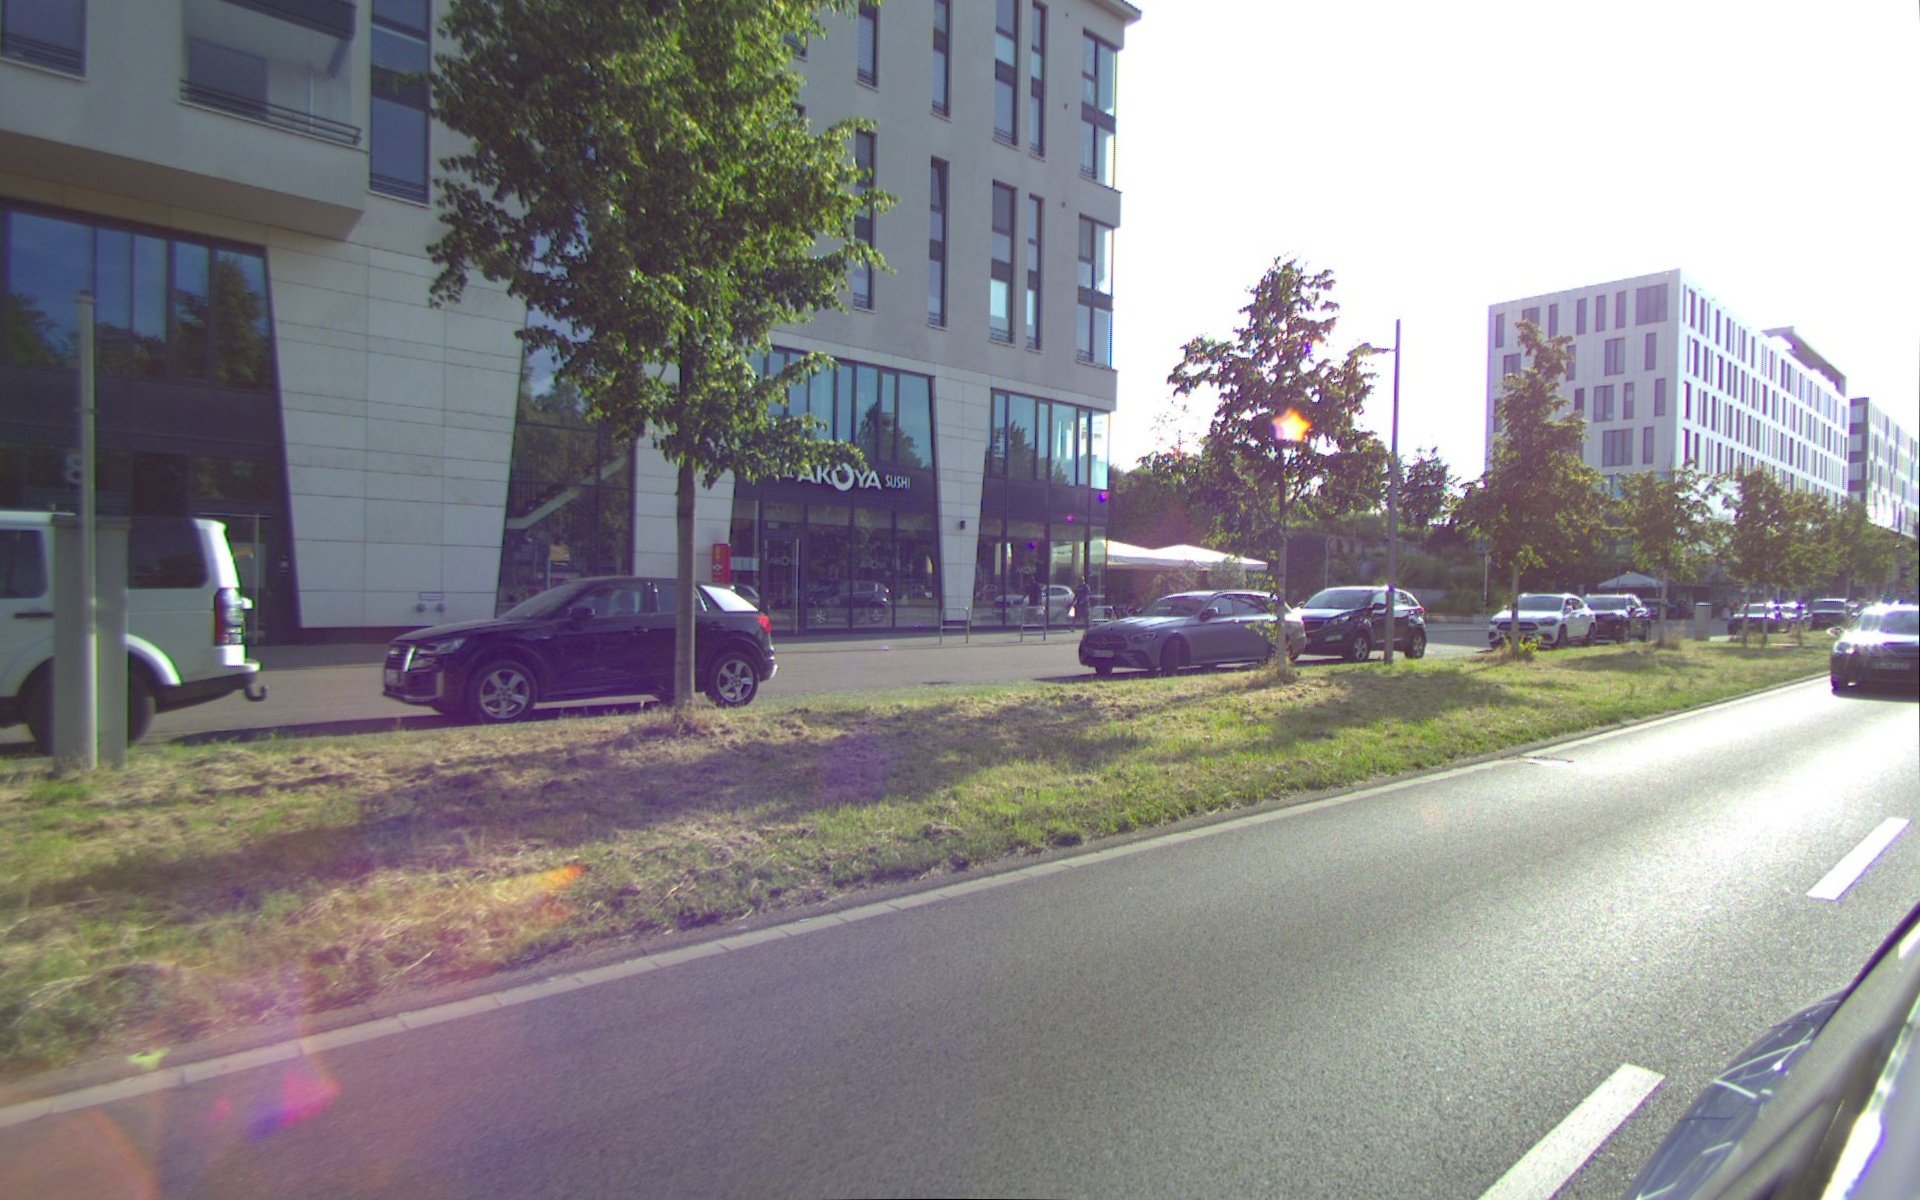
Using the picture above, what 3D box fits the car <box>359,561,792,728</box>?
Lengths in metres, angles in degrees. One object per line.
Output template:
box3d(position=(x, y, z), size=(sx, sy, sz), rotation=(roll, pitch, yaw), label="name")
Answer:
box3d(position=(-4.092, 0.388, 11.206), size=(4.140, 1.507, 1.761), rotation=(-1, 0, -43), label="car")

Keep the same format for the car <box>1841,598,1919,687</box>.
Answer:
box3d(position=(17.287, 0.700, 18.148), size=(3.969, 1.442, 1.697), rotation=(-1, 0, -41), label="car")

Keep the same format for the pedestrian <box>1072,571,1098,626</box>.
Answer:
box3d(position=(3.746, -0.034, 30.284), size=(0.562, 1.621, 0.499), rotation=(0, -1, -41), label="pedestrian")

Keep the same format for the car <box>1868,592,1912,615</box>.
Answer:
box3d(position=(65.911, 0.218, 71.687), size=(4.253, 1.549, 1.838), rotation=(-1, 0, -41), label="car")

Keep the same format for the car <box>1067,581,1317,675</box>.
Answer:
box3d(position=(4.315, 0.423, 18.389), size=(4.829, 1.507, 1.764), rotation=(-1, 0, -38), label="car")

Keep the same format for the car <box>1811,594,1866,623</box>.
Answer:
box3d(position=(51.179, 0.479, 58.948), size=(4.253, 1.549, 1.838), rotation=(-1, 0, -41), label="car")

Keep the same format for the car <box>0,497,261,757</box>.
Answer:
box3d(position=(-8.240, 0.212, 7.588), size=(4.760, 1.898, 1.897), rotation=(-1, 0, -41), label="car")

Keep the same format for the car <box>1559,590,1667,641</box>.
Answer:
box3d(position=(21.287, 0.458, 32.934), size=(4.253, 1.549, 1.838), rotation=(-1, 0, -41), label="car")

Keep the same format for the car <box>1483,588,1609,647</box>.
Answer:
box3d(position=(16.871, 0.452, 29.073), size=(4.253, 1.549, 1.838), rotation=(-1, 0, -41), label="car")

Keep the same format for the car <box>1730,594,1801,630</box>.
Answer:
box3d(position=(37.390, 0.521, 46.935), size=(4.253, 1.549, 1.838), rotation=(-1, 0, -41), label="car")

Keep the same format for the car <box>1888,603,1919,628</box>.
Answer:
box3d(position=(71.814, 1.156, 76.717), size=(3.826, 1.810, 1.739), rotation=(-1, 0, -41), label="car")

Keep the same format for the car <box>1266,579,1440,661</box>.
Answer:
box3d(position=(8.621, 0.380, 22.039), size=(4.253, 1.618, 1.763), rotation=(-1, 0, -41), label="car")

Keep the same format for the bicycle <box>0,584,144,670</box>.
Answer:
box3d(position=(-12.098, 0.344, 13.438), size=(1.948, 1.083, 0.512), rotation=(-1, 3, -40), label="bicycle")
